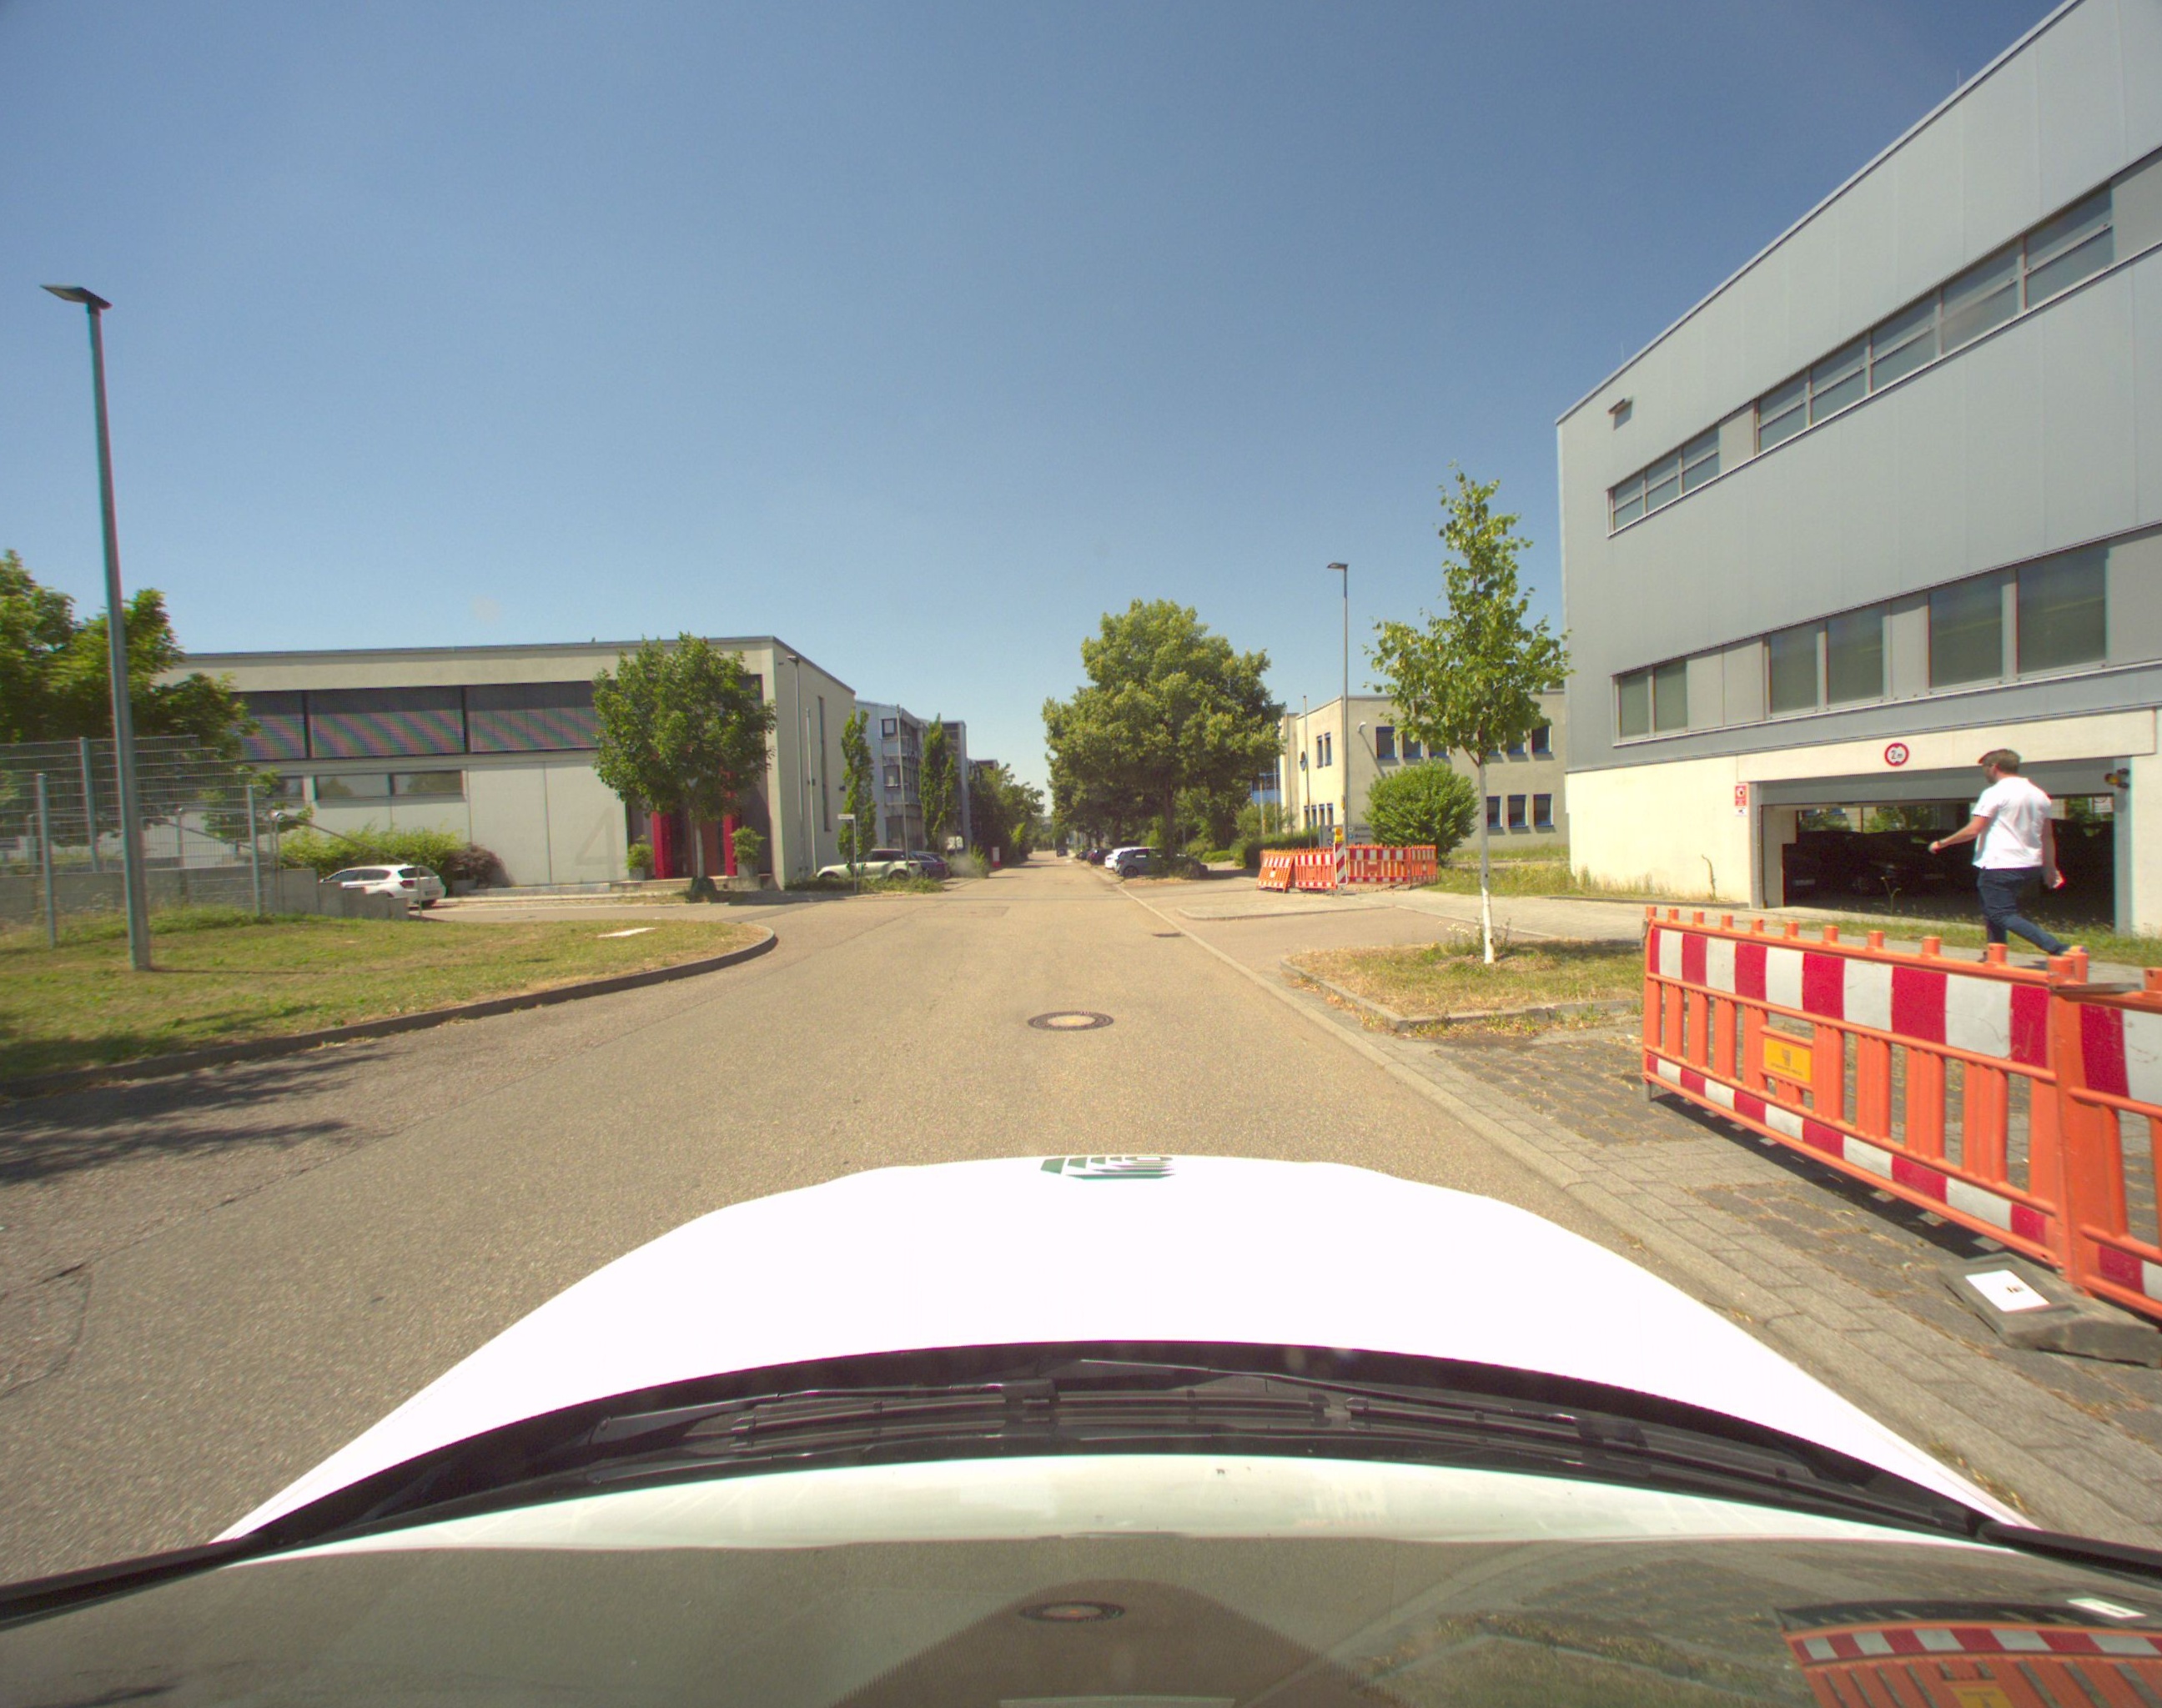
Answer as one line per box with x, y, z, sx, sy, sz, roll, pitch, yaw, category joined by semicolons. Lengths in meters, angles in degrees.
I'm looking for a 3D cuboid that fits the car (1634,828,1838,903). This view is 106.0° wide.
15.708;0.185;19.839;1.819;1.452;4.002;-3;3;1;car

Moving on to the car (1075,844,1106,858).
1.230;-0.416;109.779;3.931;1.577;1.762;-2;3;-10;car

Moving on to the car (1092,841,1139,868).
2.830;0.074;67.059;3.712;2.110;1.812;-1;0;-2;car

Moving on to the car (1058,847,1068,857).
-3.263;-0.319;148.688;1.756;1.755;3.943;-1;0;-1;car

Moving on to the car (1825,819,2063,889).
21.634;-0.085;20.700;1.875;1.452;4.002;-3;3;1;car

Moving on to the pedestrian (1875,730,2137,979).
7.756;-0.014;6.887;0.865;1.889;1.208;-2;1;-17;pedestrian

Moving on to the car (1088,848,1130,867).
2.570;0.320;75.517;3.712;1.627;1.812;-1;0;-2;car

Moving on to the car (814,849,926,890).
-8.354;0.595;32.519;4.038;1.495;1.726;-1;0;-5;car

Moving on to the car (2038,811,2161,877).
26.428;-0.263;19.724;1.875;1.452;4.002;-3;3;1;car

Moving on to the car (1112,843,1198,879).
3.430;0.325;38.149;3.675;1.354;1.642;-4;0;-6;car

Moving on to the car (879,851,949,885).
-7.626;0.641;37.402;3.056;1.478;1.289;-1;0;-9;car

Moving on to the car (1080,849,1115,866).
1.919;0.362;97.712;3.931;1.834;1.762;-2;3;-10;car

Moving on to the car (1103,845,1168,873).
3.168;0.311;47.861;3.512;1.354;1.535;-4;0;-6;car

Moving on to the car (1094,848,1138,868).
2.988;0.352;70.220;3.712;1.627;1.812;-1;0;-2;car

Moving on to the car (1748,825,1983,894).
18.742;0.116;19.754;1.875;1.477;4.001;-1;0;1;car

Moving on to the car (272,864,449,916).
-22.741;1.120;25.806;3.989;1.408;1.657;-1;3;-1;car

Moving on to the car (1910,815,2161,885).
23.965;-0.186;20.668;1.875;1.452;4.002;-3;3;1;car
